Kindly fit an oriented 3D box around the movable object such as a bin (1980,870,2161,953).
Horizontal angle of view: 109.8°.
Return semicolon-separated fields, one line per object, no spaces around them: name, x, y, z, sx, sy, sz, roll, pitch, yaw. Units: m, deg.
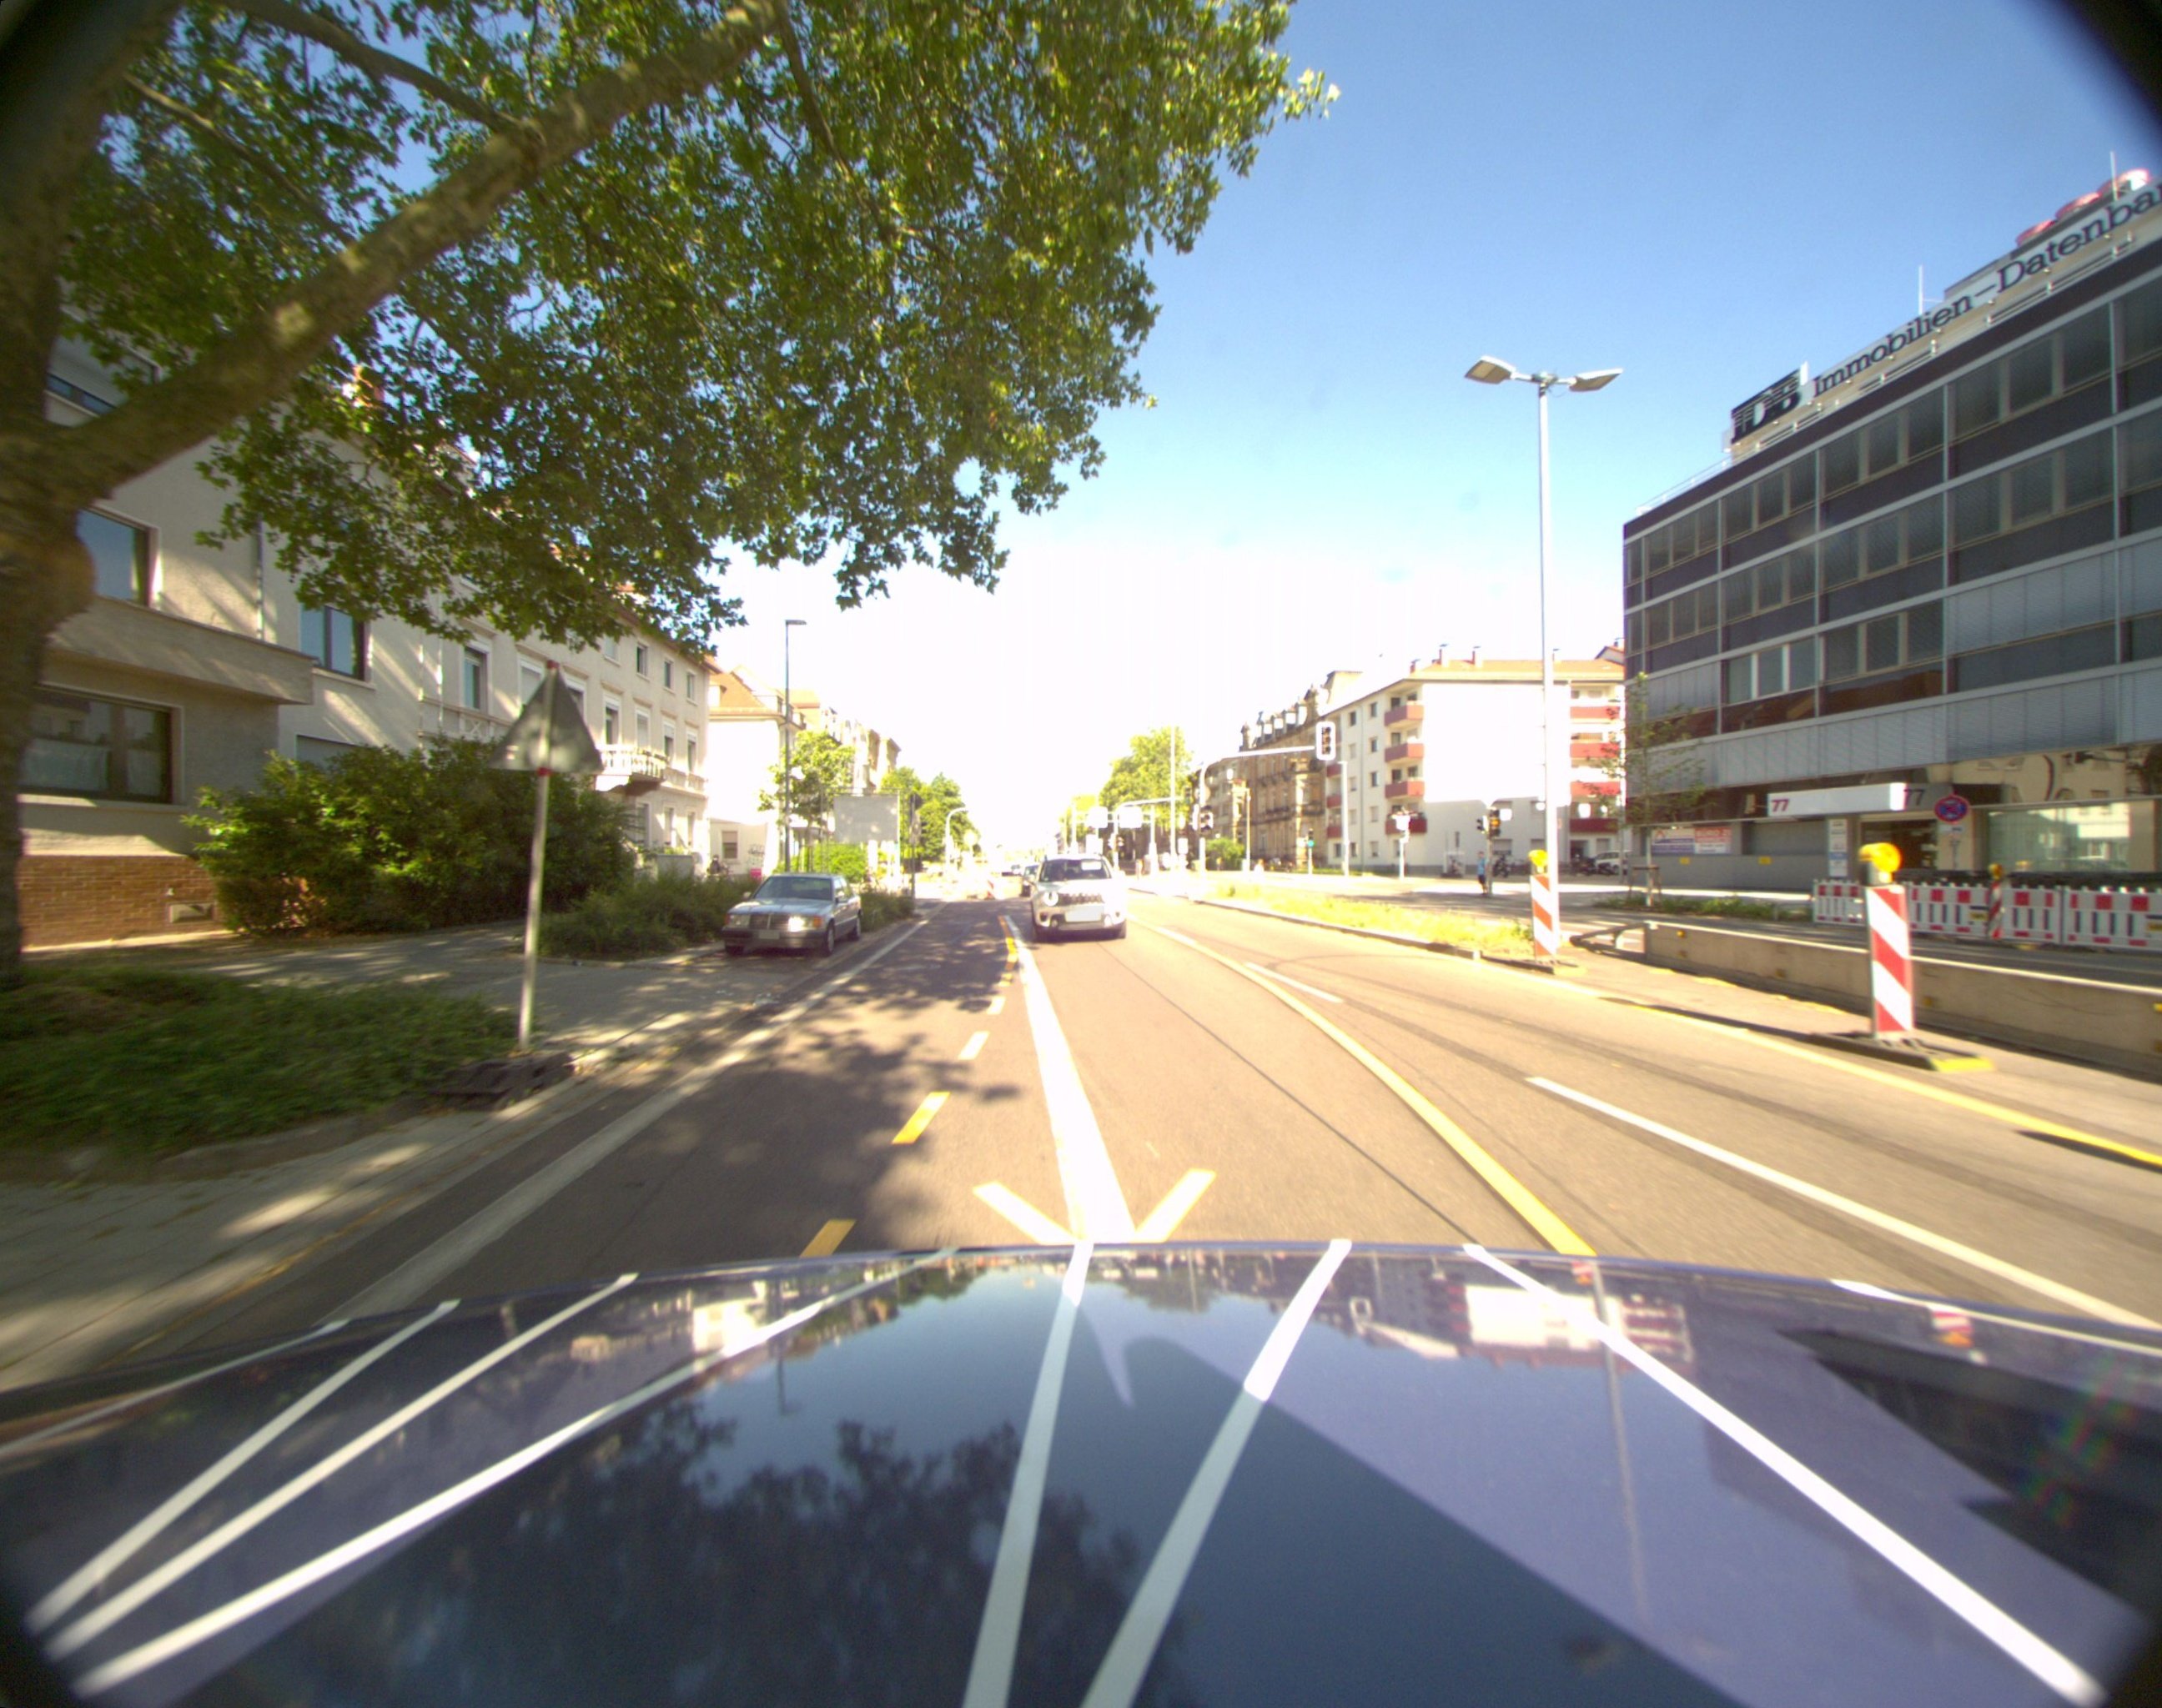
movable object such as a bin;18.403;1.010;14.110;1.218;1.380;1.855;-1;0;-4

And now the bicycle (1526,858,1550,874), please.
bicycle;31.205;0.835;51.915;0.576;1.052;1.690;-1;0;-1

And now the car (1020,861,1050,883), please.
car;-3.384;1.284;55.371;1.999;1.426;4.871;0;0;-6

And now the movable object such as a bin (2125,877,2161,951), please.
movable object such as a bin;18.539;0.984;12.377;1.398;1.196;1.241;-1;0;-3

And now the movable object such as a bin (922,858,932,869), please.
movable object such as a bin;-21.455;1.338;106.115;0.975;1.389;1.285;2;-2;-29

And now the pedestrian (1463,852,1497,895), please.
pedestrian;16.111;0.792;30.690;0.867;1.700;1.012;-1;0;1

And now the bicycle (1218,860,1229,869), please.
bicycle;16.716;1.248;89.124;0.468;0.999;2.249;-2;-1;-8

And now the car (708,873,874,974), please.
car;-5.312;1.162;14.653;1.858;1.471;4.939;-1;0;-7

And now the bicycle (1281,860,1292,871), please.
bicycle;18.862;1.057;69.661;0.305;0.952;1.939;0;0;-5

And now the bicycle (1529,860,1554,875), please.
bicycle;29.360;0.861;48.497;0.478;0.942;1.952;-1;0;3

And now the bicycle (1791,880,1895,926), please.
bicycle;19.064;1.212;19.072;0.628;1.031;1.878;-1;0;-5

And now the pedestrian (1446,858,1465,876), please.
pedestrian;24.147;0.845;48.964;0.720;1.146;0.787;-1;0;-18

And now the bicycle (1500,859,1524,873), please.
bicycle;29.333;0.816;51.736;0.576;0.963;1.736;-1;0;-1

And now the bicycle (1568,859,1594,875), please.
bicycle;32.165;0.825;48.900;0.459;0.942;1.723;-1;0;-4

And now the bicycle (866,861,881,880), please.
bicycle;-16.149;1.278;59.149;0.710;1.435;2.490;-2;-1;-7

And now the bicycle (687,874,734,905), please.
bicycle;-12.474;1.190;25.643;0.784;0.960;1.822;-1;0;-4

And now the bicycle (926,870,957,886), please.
bicycle;-9.425;1.603;51.398;1.968;1.019;0.604;-2;0;-6

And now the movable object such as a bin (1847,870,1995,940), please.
movable object such as a bin;18.074;1.055;16.424;1.117;1.380;1.855;-1;0;-4

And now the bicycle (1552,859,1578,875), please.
bicycle;31.302;0.822;49.144;0.510;0.997;1.736;-1;0;-1

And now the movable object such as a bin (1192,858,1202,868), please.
movable object such as a bin;15.107;1.191;98.748;0.895;1.352;1.473;1;-1;-5

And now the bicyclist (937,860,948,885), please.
bicyclist;-9.371;1.253;51.349;0.605;1.698;0.858;-1;0;-6

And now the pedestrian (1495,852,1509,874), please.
pedestrian;29.690;0.643;53.597;0.601;1.488;0.694;-1;0;-2

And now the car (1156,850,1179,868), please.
car;12.717;0.733;111.823;2.251;2.431;5.286;1;-2;-5

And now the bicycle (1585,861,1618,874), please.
bicycle;33.253;0.844;48.569;0.415;0.809;1.719;-1;0;-29

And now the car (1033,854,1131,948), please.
car;-0.089;0.882;15.462;1.744;1.647;3.689;-1;-1;-4

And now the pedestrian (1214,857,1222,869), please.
pedestrian;16.078;1.101;89.379;0.568;1.369;1.089;-1;0;-8

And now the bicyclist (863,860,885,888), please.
bicyclist;-10.971;1.045;40.241;0.724;1.490;0.873;0;0;41

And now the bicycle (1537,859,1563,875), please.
bicycle;30.233;0.832;49.033;0.490;1.062;1.736;-1;0;-3

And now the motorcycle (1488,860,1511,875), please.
motorcycle;27.066;0.884;49.208;0.504;0.931;1.842;-1;0;1

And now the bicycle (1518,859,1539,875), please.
bicycle;28.758;0.813;48.845;0.507;0.972;1.886;-1;0;11

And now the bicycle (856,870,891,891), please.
bicycle;-10.965;1.410;40.233;0.689;1.091;1.691;-1;-2;41

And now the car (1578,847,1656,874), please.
car;35.647;0.437;50.694;1.998;1.721;4.479;-1;0;0

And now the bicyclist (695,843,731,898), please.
bicyclist;-12.458;0.553;25.745;0.726;1.809;1.070;-1;0;-5

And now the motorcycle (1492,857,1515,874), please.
motorcycle;28.036;0.761;50.474;0.613;1.135;1.784;-1;0;3

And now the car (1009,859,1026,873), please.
car;-8.602;1.675;102.850;2.000;1.760;3.998;-2;-1;-7

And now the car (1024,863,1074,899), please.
car;-1.535;1.154;34.504;1.999;1.426;4.871;0;0;-6
